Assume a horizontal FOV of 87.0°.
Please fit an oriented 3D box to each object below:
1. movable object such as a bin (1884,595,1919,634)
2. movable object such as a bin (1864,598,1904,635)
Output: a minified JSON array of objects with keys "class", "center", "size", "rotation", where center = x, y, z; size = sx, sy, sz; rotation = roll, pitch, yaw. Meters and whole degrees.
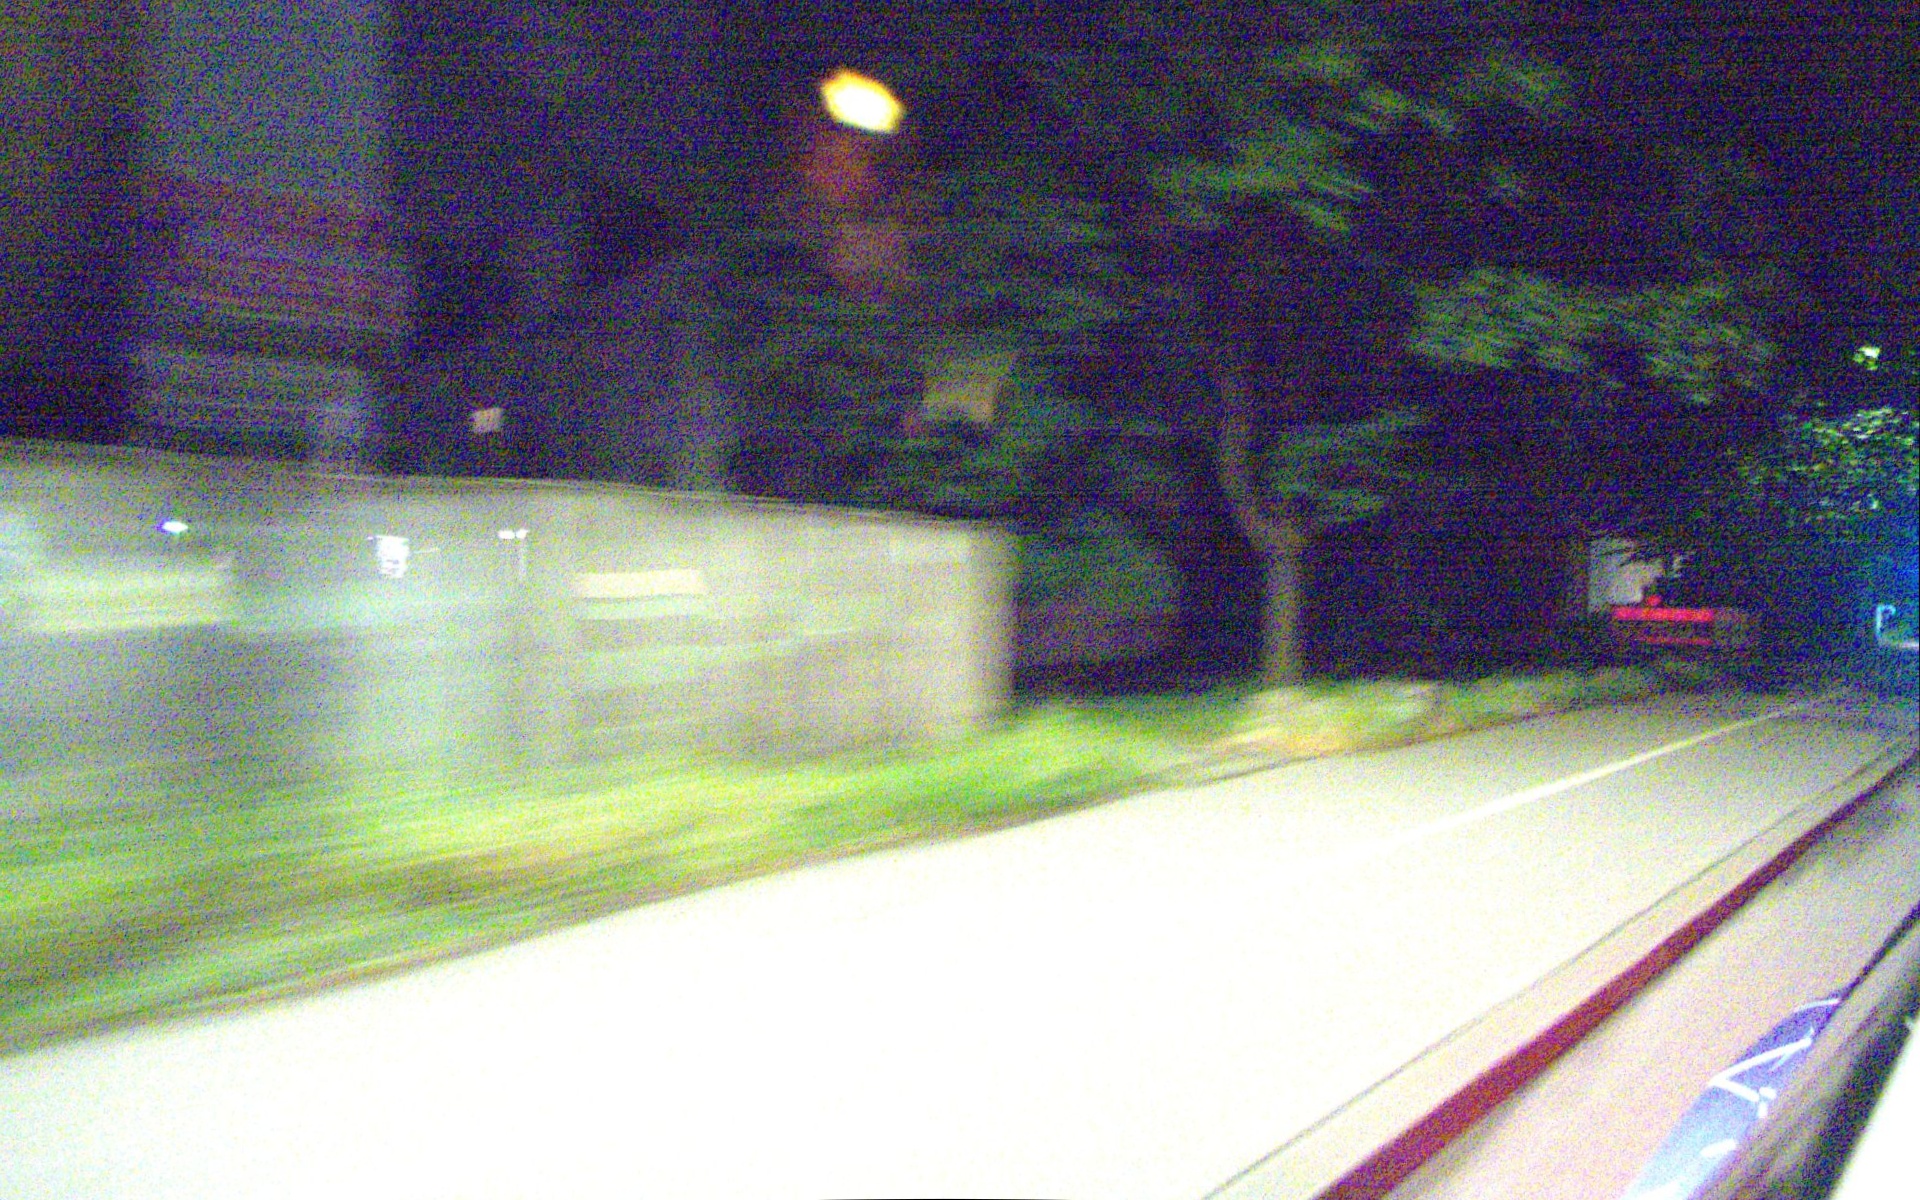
[{"class":"movable object such as a bin","center":[29.994,0.462,32.185],"size":[0.706,1.216,0.727],"rotation":[0,1,-34]},{"class":"movable object such as a bin","center":[29.170,0.518,31.944],"size":[0.876,1.135,0.726],"rotation":[0,1,-34]}]
